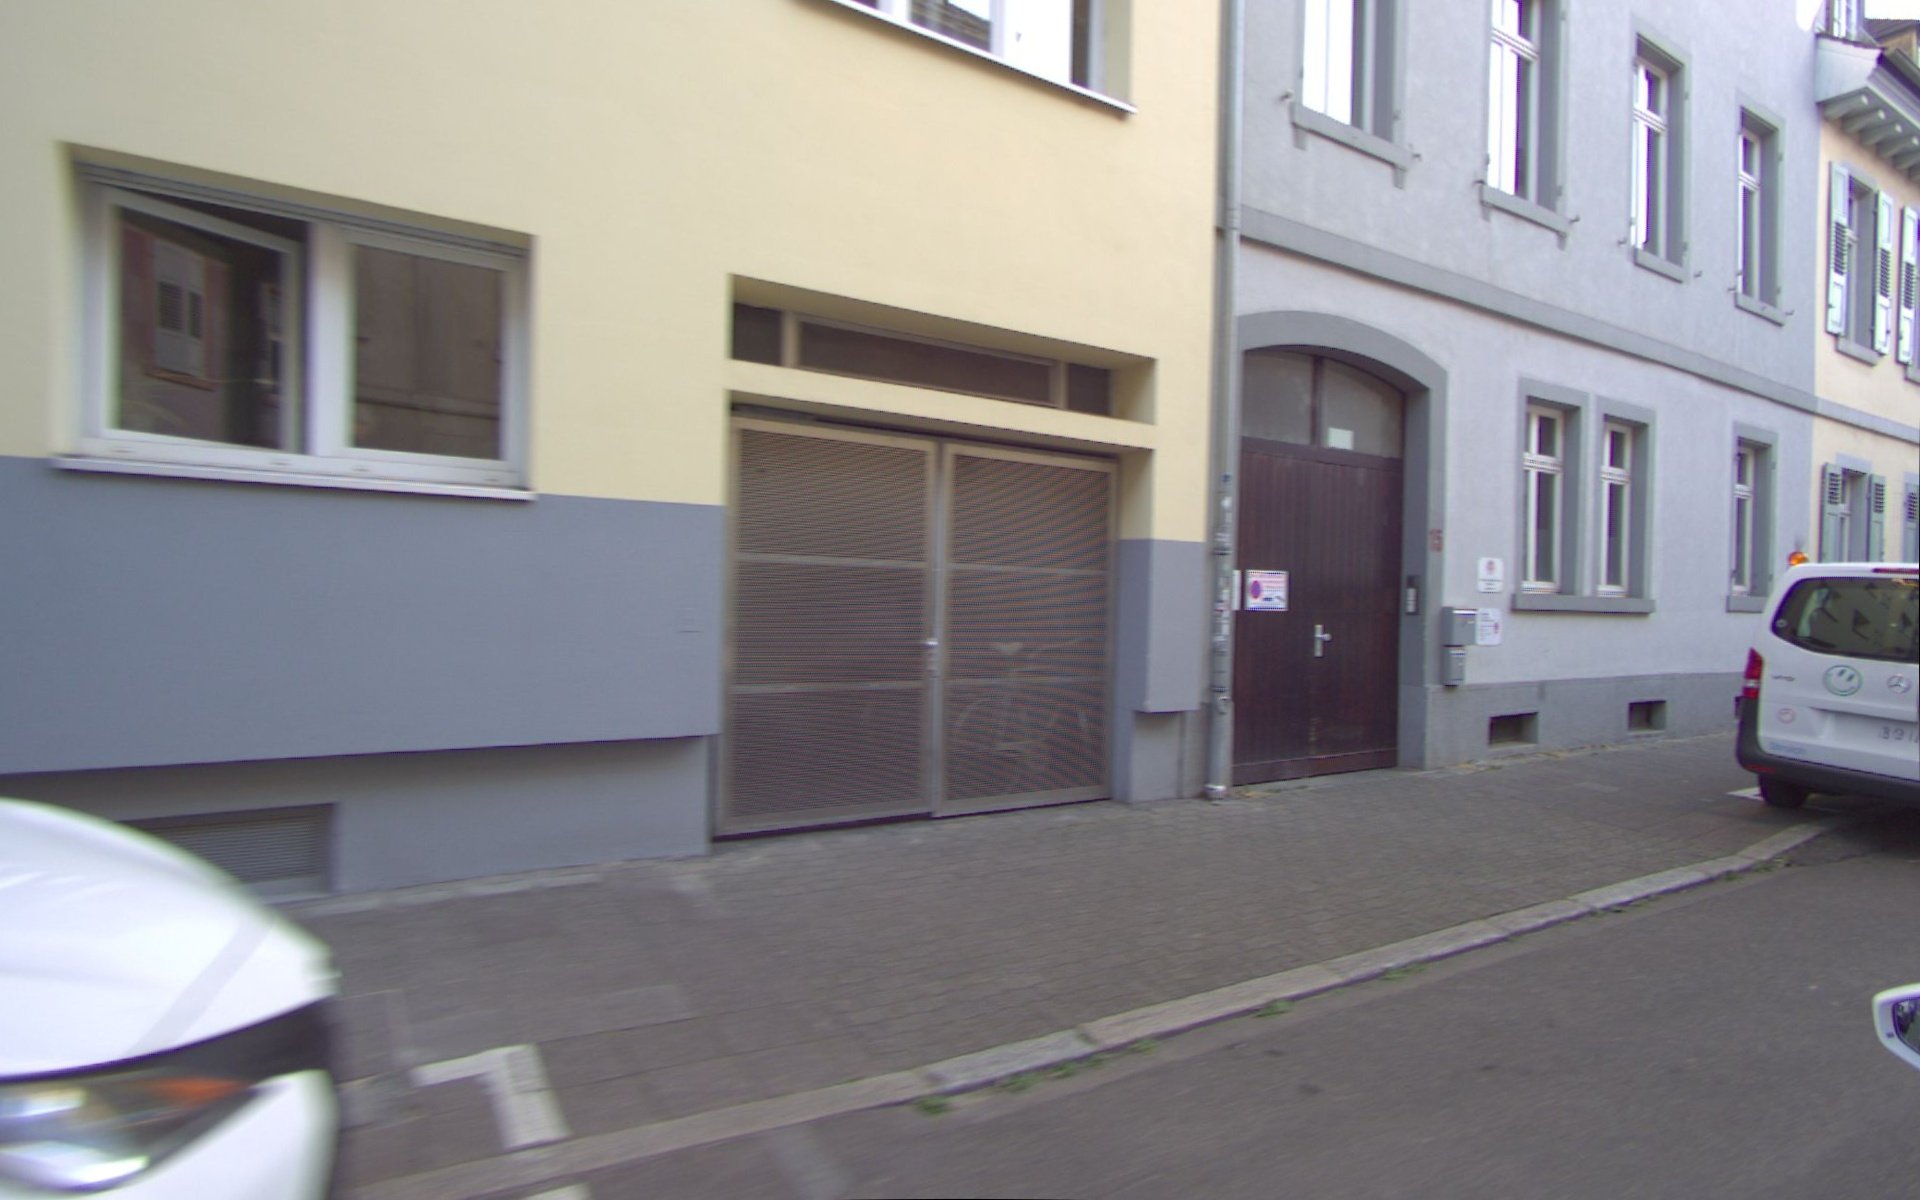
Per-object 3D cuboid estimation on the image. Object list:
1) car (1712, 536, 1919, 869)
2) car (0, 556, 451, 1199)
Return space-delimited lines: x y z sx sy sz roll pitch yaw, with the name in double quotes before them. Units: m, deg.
"car" 7.906 0.677 7.693 5.052 2.040 1.851 1 0 -34
"car" -2.560 0.668 1.030 3.482 1.468 1.652 2 3 -33
